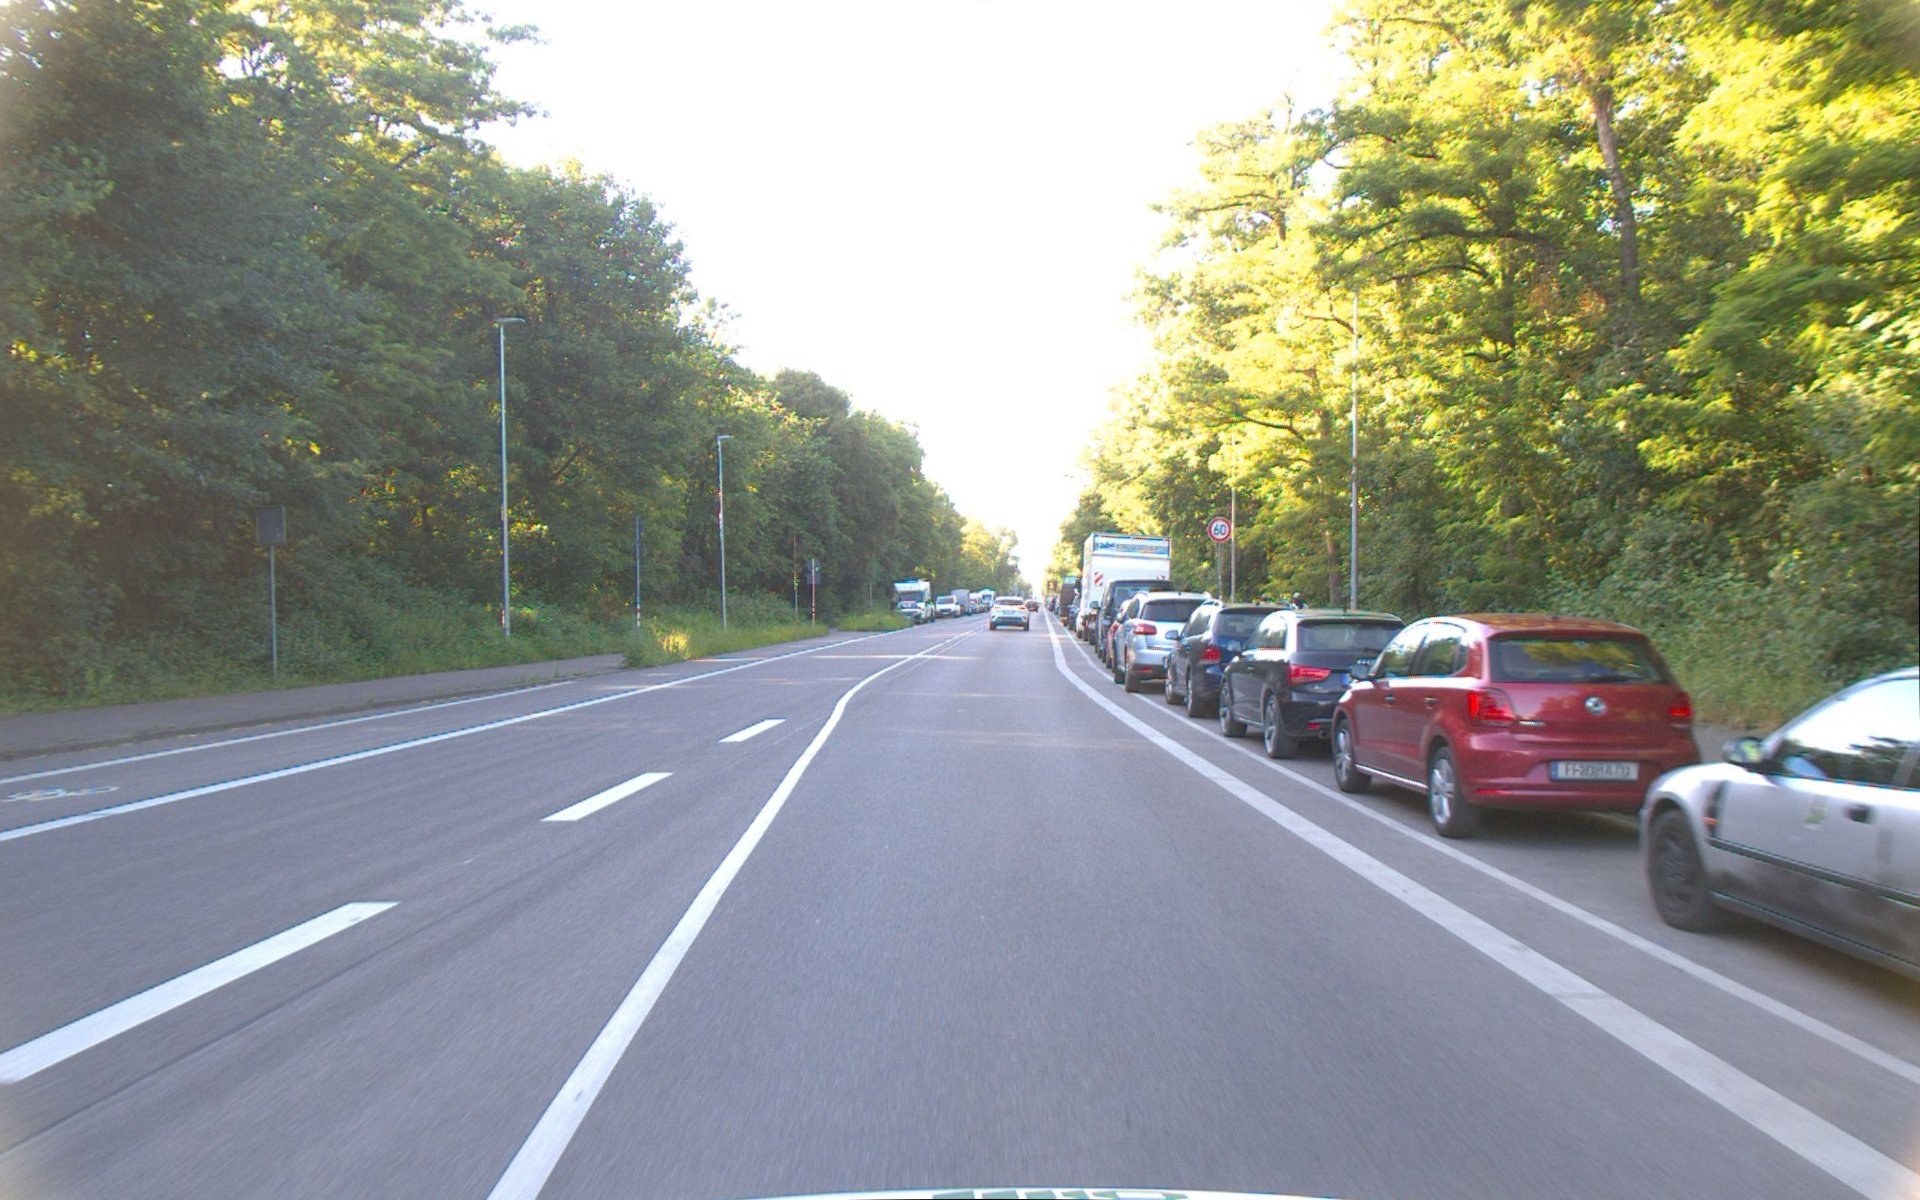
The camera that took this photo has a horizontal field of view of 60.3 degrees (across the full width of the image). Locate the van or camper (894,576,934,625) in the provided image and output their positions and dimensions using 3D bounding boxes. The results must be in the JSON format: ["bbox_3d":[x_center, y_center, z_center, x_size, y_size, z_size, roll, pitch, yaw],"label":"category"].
[{"bbox_3d":[-2.983,0.033,109.480,2.267,3.021,7.111,-3,0,1],"label":"van or camper"}]

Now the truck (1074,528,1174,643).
[{"bbox_3d":[5.406,-0.467,55.898,2.773,3.559,8.580,0,0,2],"label":"truck"}]

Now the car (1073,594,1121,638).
[{"bbox_3d":[5.339,0.603,64.693,1.676,1.596,4.001,2,0,3],"label":"car"}]

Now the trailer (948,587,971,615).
[{"bbox_3d":[-0.034,0.117,166.483,1.952,2.643,4.417,-3,0,3],"label":"trailer"}]

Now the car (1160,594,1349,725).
[{"bbox_3d":[3.886,0.719,22.531,1.770,1.545,4.504,2,0,0],"label":"car"}]

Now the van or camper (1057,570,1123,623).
[{"bbox_3d":[7.360,-0.222,93.080,2.389,2.849,6.561,-1,0,16],"label":"van or camper"}]

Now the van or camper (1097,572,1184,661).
[{"bbox_3d":[4.372,0.379,40.604,1.858,2.049,4.588,0,0,3],"label":"van or camper"}]

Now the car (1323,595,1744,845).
[{"bbox_3d":[3.937,0.737,12.014,1.584,1.494,3.722,2,0,-3],"label":"car"}]

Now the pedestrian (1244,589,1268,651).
[{"bbox_3d":[7.815,0.523,43.670,0.552,1.616,0.482,-1,0,2],"label":"pedestrian"}]

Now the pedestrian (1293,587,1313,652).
[{"bbox_3d":[8.720,0.492,42.031,0.386,1.616,0.482,-1,0,2],"label":"pedestrian"}]

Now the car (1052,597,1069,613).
[{"bbox_3d":[10.326,0.519,169.764,1.655,1.551,4.151,1,0,3],"label":"car"}]

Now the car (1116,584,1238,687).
[{"bbox_3d":[3.628,0.561,28.211,1.761,1.623,4.030,0,0,3],"label":"car"}]

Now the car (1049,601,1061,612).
[{"bbox_3d":[14.479,0.943,252.281,1.802,1.691,4.002,0,0,4],"label":"car"}]

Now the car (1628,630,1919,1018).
[{"bbox_3d":[4.252,0.838,6.586,1.595,1.342,3.840,1,0,-1],"label":"car"}]

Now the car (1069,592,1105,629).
[{"bbox_3d":[6.137,0.473,80.202,1.676,1.694,4.553,2,0,4],"label":"car"}]

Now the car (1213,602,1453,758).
[{"bbox_3d":[3.773,0.752,17.337,1.562,1.426,3.797,1,0,-1],"label":"car"}]

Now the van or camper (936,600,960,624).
[{"bbox_3d":[-0.989,1.010,143.354,1.797,1.945,4.857,-2,0,2],"label":"van or camper"}]

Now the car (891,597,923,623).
[{"bbox_3d":[-3.264,0.580,102.039,1.790,1.501,4.681,-2,0,0],"label":"car"}]

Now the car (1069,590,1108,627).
[{"bbox_3d":[5.833,0.375,75.207,1.676,1.596,4.553,2,0,4],"label":"car"}]

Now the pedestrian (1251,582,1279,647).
[{"bbox_3d":[8.547,0.403,46.333,0.605,1.795,0.907,-1,0,2],"label":"pedestrian"}]

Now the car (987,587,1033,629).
[{"bbox_3d":[2.323,0.372,76.278,1.986,1.872,4.030,0,0,3],"label":"car"}]

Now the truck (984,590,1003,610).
[{"bbox_3d":[5.303,-0.022,259.095,2.651,3.148,7.992,0,0,3],"label":"truck"}]
